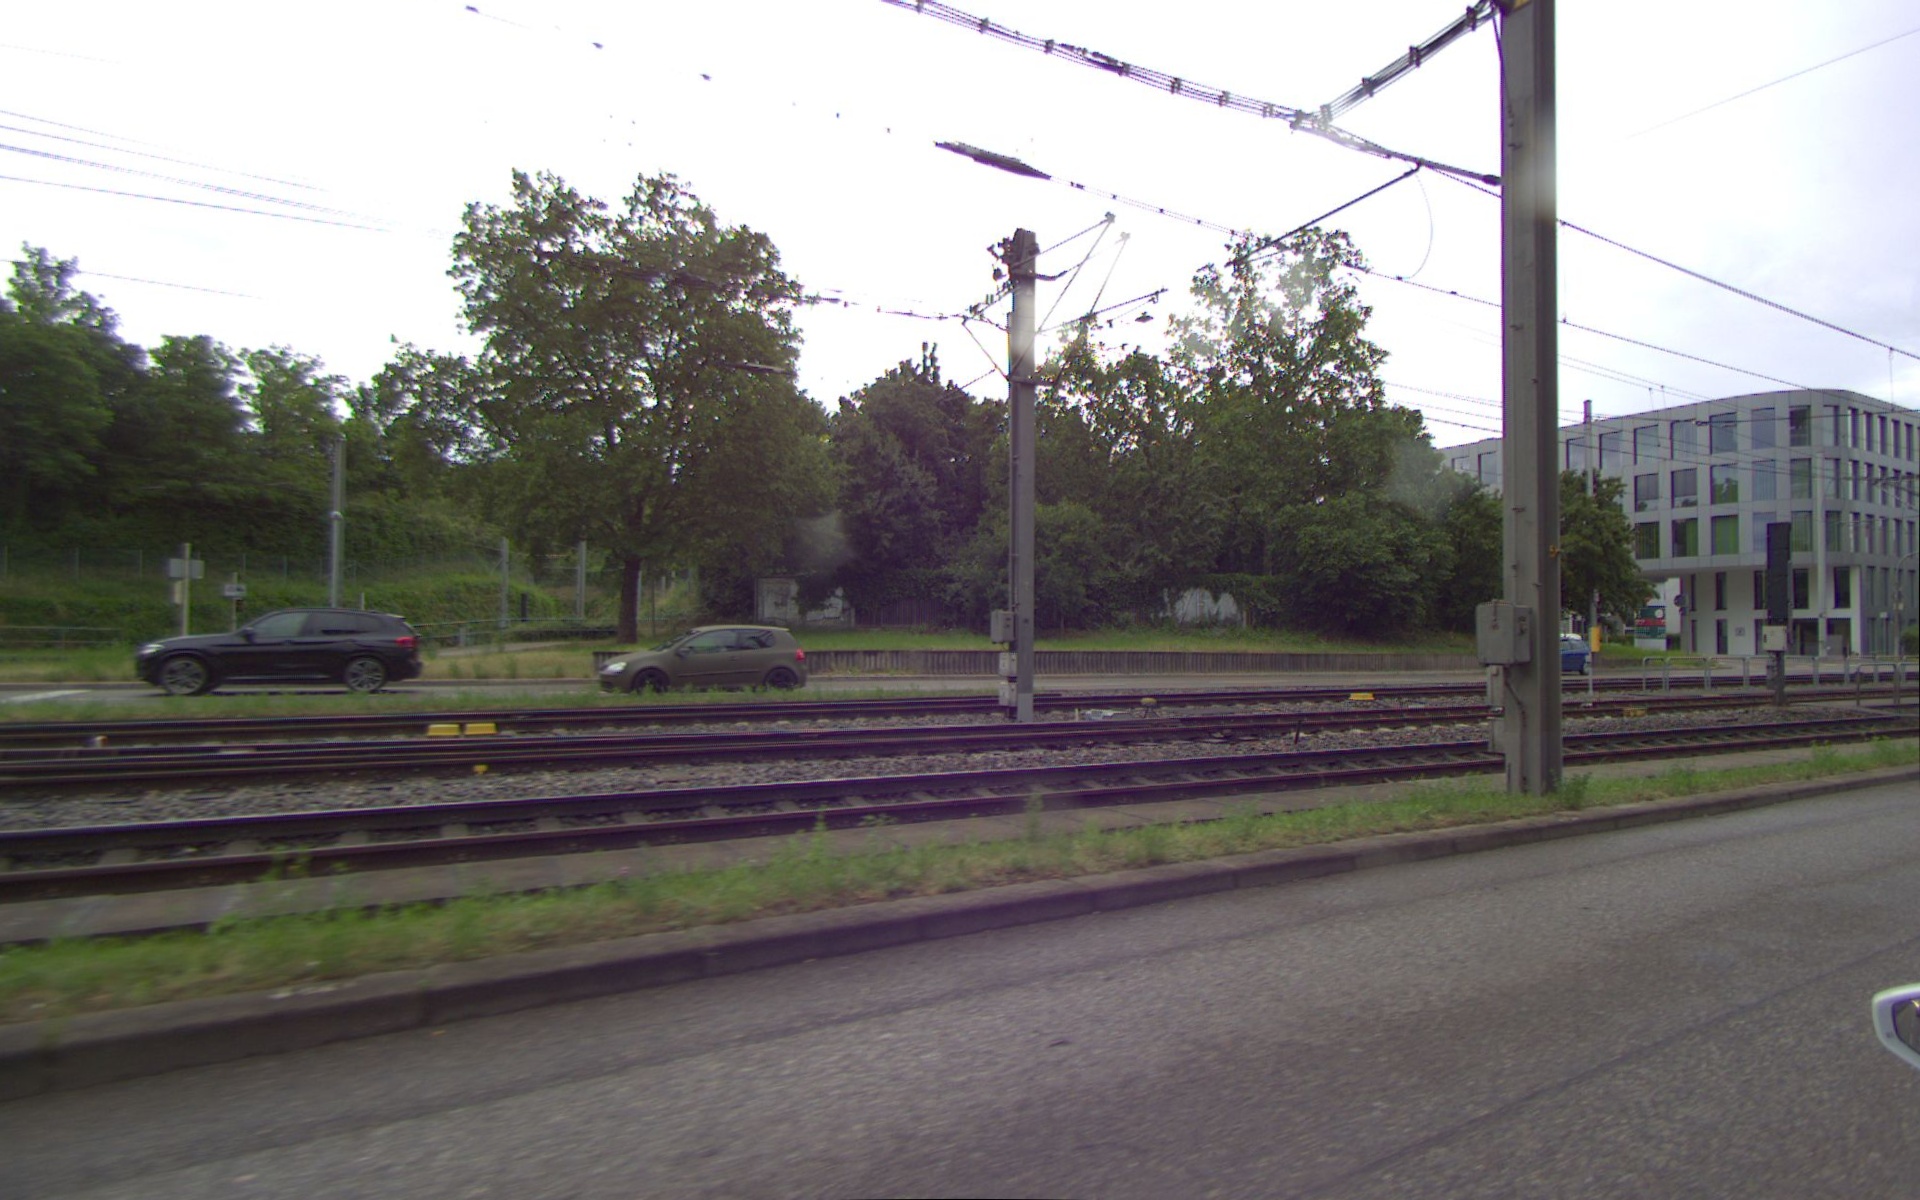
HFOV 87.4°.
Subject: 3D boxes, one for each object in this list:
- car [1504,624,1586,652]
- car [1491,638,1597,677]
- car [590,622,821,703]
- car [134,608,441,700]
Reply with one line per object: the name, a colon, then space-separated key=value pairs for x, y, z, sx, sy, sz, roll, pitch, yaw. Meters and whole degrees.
car: x=35.927 y=2.326 z=61.740 sx=1.904 sy=1.472 sz=3.898 roll=2 pitch=1 yaw=-32
car: x=22.422 y=2.188 z=38.559 sx=3.851 sy=1.416 sz=1.754 roll=2 pitch=-2 yaw=-28
car: x=-5.155 y=1.234 z=20.414 sx=4.254 sy=1.506 sz=1.884 roll=2 pitch=-2 yaw=-28
car: x=-12.954 y=1.037 z=19.804 sx=4.787 sy=1.616 sz=1.940 roll=2 pitch=-2 yaw=-29
